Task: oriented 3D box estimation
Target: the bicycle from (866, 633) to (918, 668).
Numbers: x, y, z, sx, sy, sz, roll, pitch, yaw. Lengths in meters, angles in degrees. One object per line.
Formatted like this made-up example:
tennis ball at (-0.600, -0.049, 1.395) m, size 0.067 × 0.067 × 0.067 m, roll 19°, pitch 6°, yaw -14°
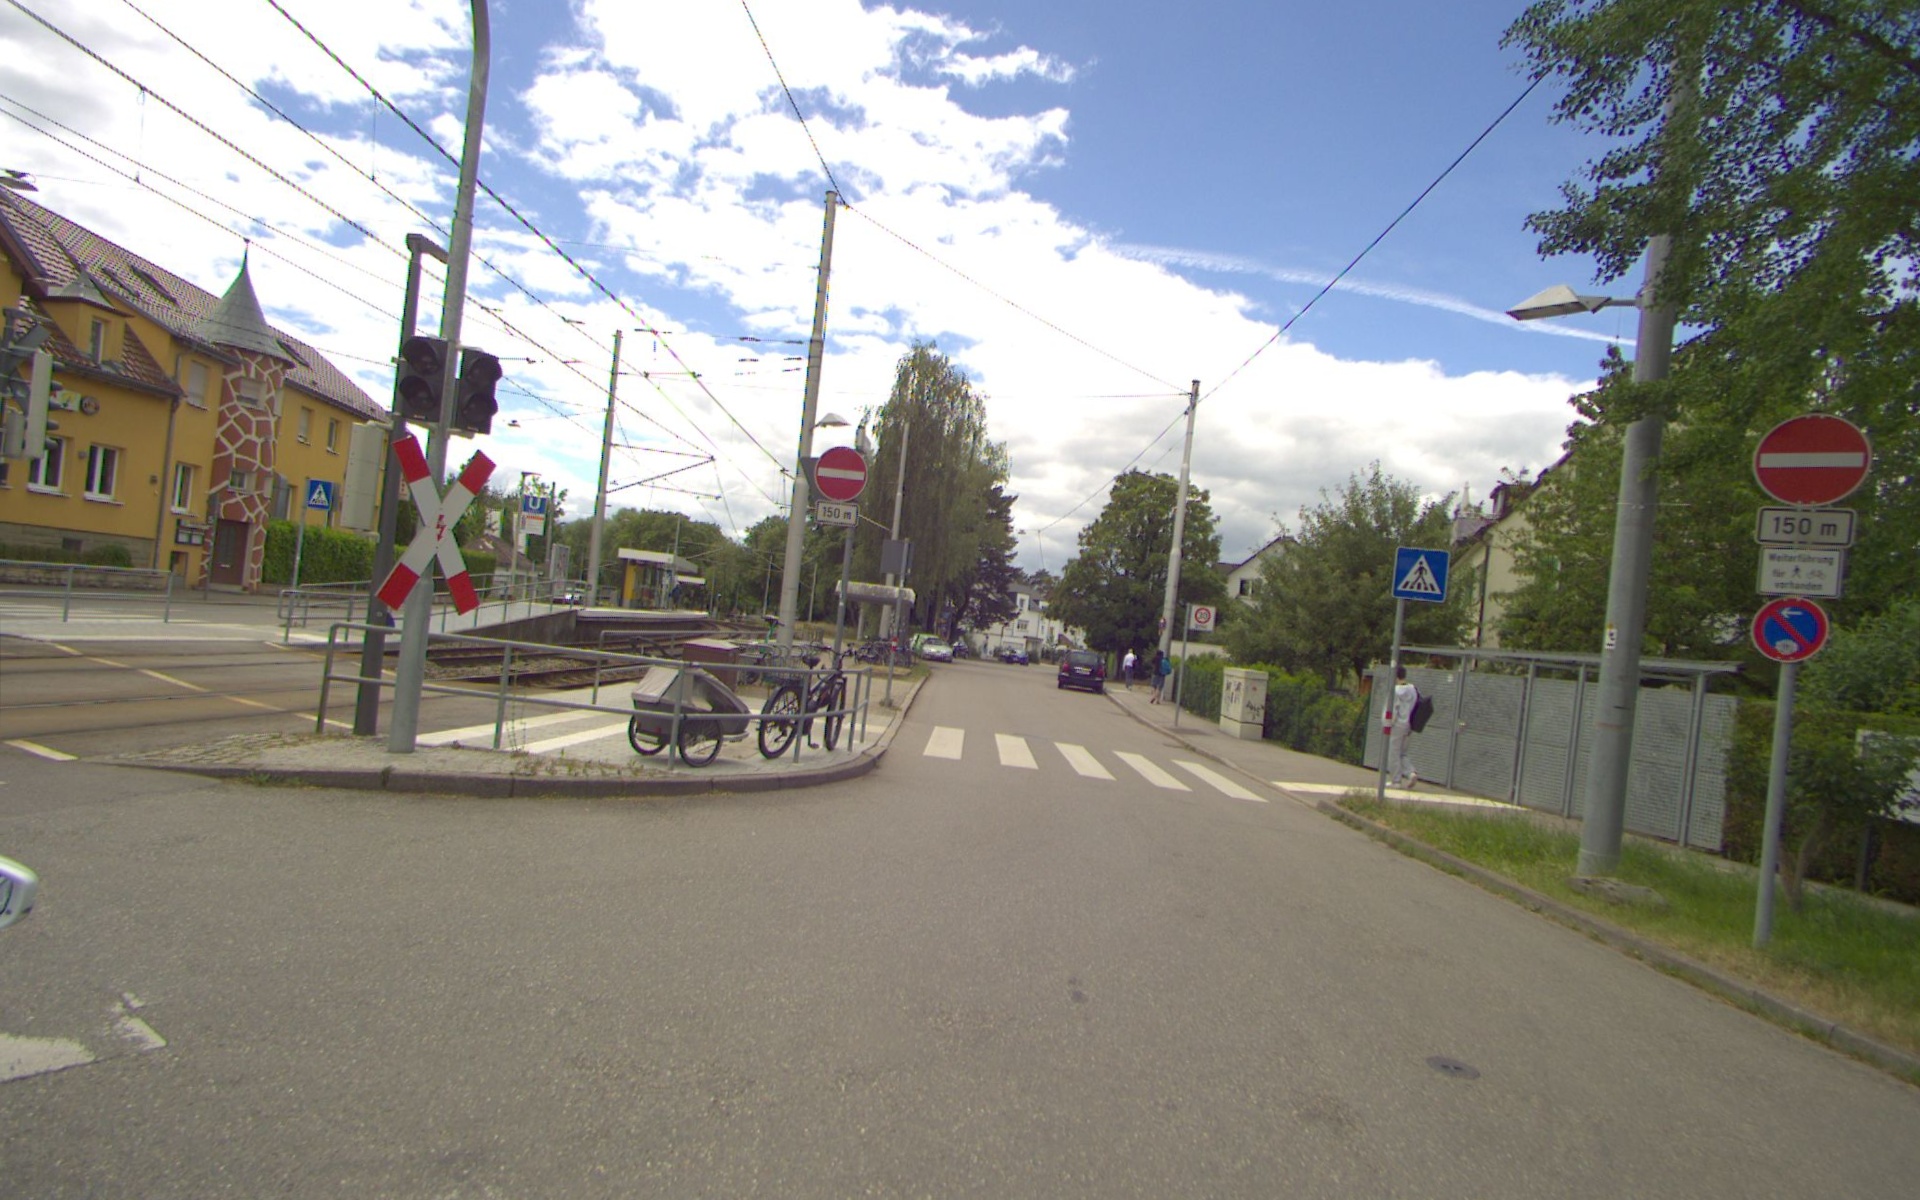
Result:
bicycle at (-2.437, 1.811, 36.053) m, size 1.738 × 1.054 × 0.557 m, roll 7°, pitch -1°, yaw 0°

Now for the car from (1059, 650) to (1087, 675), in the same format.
car at (7.760, 4.341, 69.605) m, size 1.728 × 1.505 × 4.937 m, roll 5°, pitch -3°, yaw 6°

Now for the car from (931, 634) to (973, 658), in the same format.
car at (-0.641, 3.704, 80.572) m, size 1.890 × 1.592 × 4.263 m, roll 6°, pitch -2°, yaw 20°

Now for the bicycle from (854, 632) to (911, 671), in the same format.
bicycle at (-2.523, 1.686, 32.864) m, size 1.738 × 1.054 × 0.557 m, roll 7°, pitch -1°, yaw 0°

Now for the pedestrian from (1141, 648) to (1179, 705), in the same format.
pedestrian at (6.454, 2.469, 32.460) m, size 0.796 × 1.706 × 0.948 m, roll 6°, pitch -1°, yaw -6°

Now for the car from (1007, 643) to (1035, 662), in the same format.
car at (6.146, 5.288, 100.577) m, size 2.030 × 1.592 × 4.265 m, roll 6°, pitch -2°, yaw 12°

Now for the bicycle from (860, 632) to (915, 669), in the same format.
bicycle at (-2.459, 1.729, 34.441) m, size 1.738 × 1.054 × 0.557 m, roll 7°, pitch -1°, yaw 0°

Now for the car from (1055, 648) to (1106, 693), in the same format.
car at (4.756, 2.764, 40.139) m, size 1.787 × 1.503 × 4.426 m, roll 6°, pitch -2°, yaw 6°

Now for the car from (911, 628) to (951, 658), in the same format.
car at (-1.877, 2.660, 63.294) m, size 2.034 × 1.592 × 4.258 m, roll 7°, pitch -2°, yaw -6°

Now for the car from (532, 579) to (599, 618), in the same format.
car at (-19.798, -0.024, 50.710) m, size 2.325 × 1.581 × 4.365 m, roll 8°, pitch -3°, yaw -12°

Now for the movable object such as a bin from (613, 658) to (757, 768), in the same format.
movable object such as a bin at (-2.387, 0.977, 8.832) m, size 0.569 × 0.834 × 1.094 m, roll 6°, pitch -2°, yaw 25°

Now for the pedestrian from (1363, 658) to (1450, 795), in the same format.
pedestrian at (6.773, 1.899, 15.280) m, size 0.617 × 1.938 × 0.826 m, roll 6°, pitch 1°, yaw -24°

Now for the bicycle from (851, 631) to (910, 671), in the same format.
bicycle at (-2.514, 1.629, 31.961) m, size 1.738 × 1.054 × 0.557 m, roll 7°, pitch -1°, yaw 0°

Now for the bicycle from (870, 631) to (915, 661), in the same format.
bicycle at (-2.875, 1.966, 42.697) m, size 1.741 × 1.054 × 0.556 m, roll 7°, pitch -1°, yaw -10°

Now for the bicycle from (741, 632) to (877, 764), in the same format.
bicycle at (-1.477, 0.963, 10.128) m, size 0.458 × 1.169 × 1.693 m, roll 6°, pitch -1°, yaw 22°

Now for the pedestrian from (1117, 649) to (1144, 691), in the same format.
pedestrian at (7.779, 3.185, 45.860) m, size 0.814 × 1.792 × 0.682 m, roll 6°, pitch -1°, yaw 34°

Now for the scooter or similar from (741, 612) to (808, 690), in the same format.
scooter or similar at (-3.475, 0.946, 18.858) m, size 1.031 × 1.332 × 0.489 m, roll 6°, pitch 1°, yaw 1°

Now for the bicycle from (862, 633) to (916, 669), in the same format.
bicycle at (-2.468, 1.779, 35.153) m, size 1.738 × 1.054 × 0.557 m, roll 7°, pitch -1°, yaw 0°

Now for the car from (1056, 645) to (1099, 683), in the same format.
car at (6.005, 3.222, 50.986) m, size 1.786 × 1.655 × 4.845 m, roll 6°, pitch -2°, yaw 9°

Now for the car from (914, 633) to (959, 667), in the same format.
car at (-1.392, 2.816, 57.252) m, size 2.034 × 1.592 × 4.258 m, roll 7°, pitch -2°, yaw -6°

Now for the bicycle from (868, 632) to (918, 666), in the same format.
bicycle at (-2.505, 1.817, 37.637) m, size 1.738 × 1.054 × 0.557 m, roll 7°, pitch -1°, yaw 0°

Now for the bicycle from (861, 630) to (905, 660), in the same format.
bicycle at (-3.315, 1.935, 43.407) m, size 1.741 × 1.054 × 0.556 m, roll 7°, pitch -1°, yaw -11°
